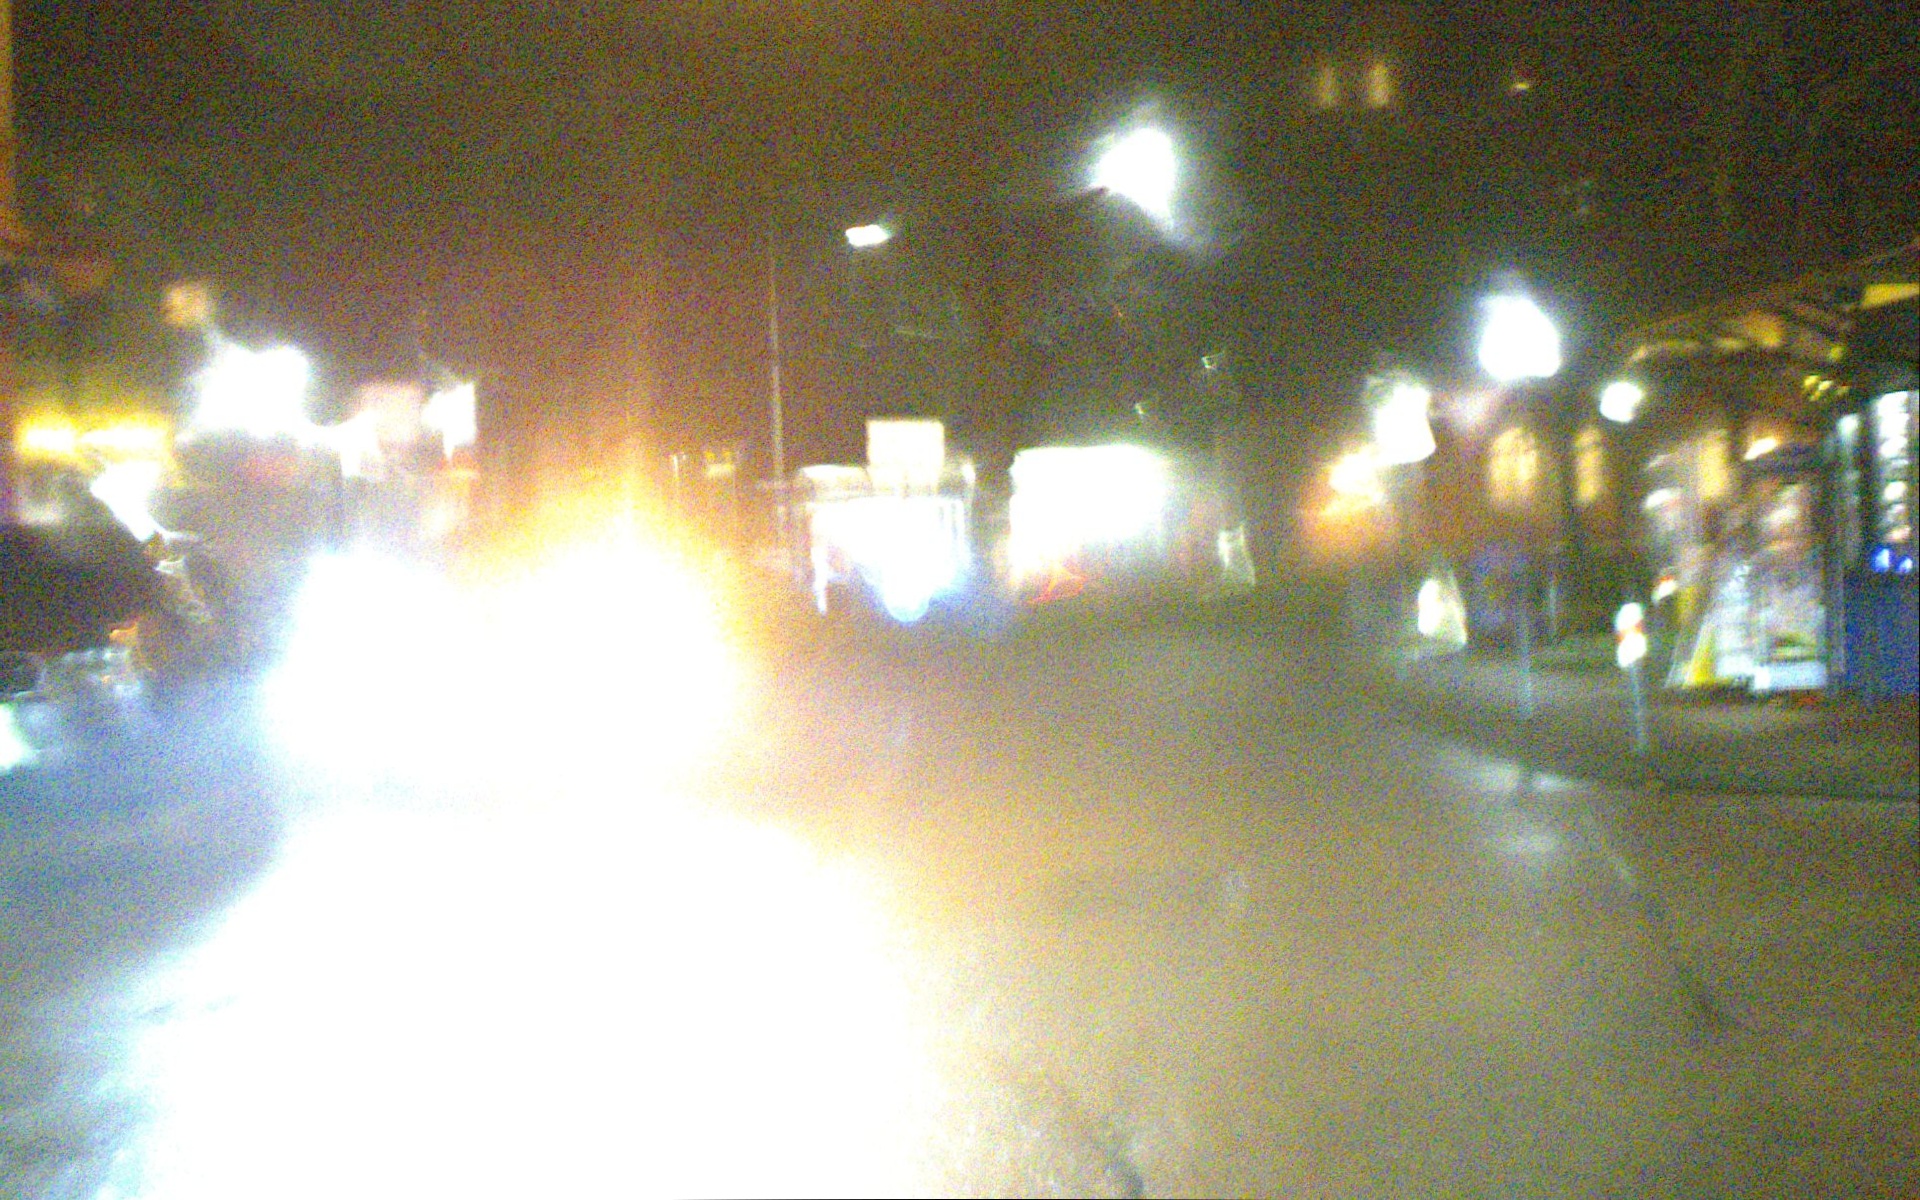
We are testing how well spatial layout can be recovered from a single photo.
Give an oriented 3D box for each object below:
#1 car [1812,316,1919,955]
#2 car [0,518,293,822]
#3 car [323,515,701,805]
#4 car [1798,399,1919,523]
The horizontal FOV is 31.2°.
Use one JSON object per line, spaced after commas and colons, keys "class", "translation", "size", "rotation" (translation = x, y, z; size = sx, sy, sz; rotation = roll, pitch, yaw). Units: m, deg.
{"class": "car", "translation": [5.366, 0.072, 11.639], "size": [4.678, 2.042, 2.002], "rotation": [-1, 1, -29]}
{"class": "car", "translation": [-5.586, 0.371, 21.741], "size": [1.832, 1.711, 4.595], "rotation": [-1, 1, 0]}
{"class": "car", "translation": [-2.809, 0.305, 22.536], "size": [1.920, 1.612, 4.575], "rotation": [-3, 1, -1]}
{"class": "car", "translation": [13.621, -1.895, 47.938], "size": [3.449, 1.608, 1.737], "rotation": [1, 0, -28]}
